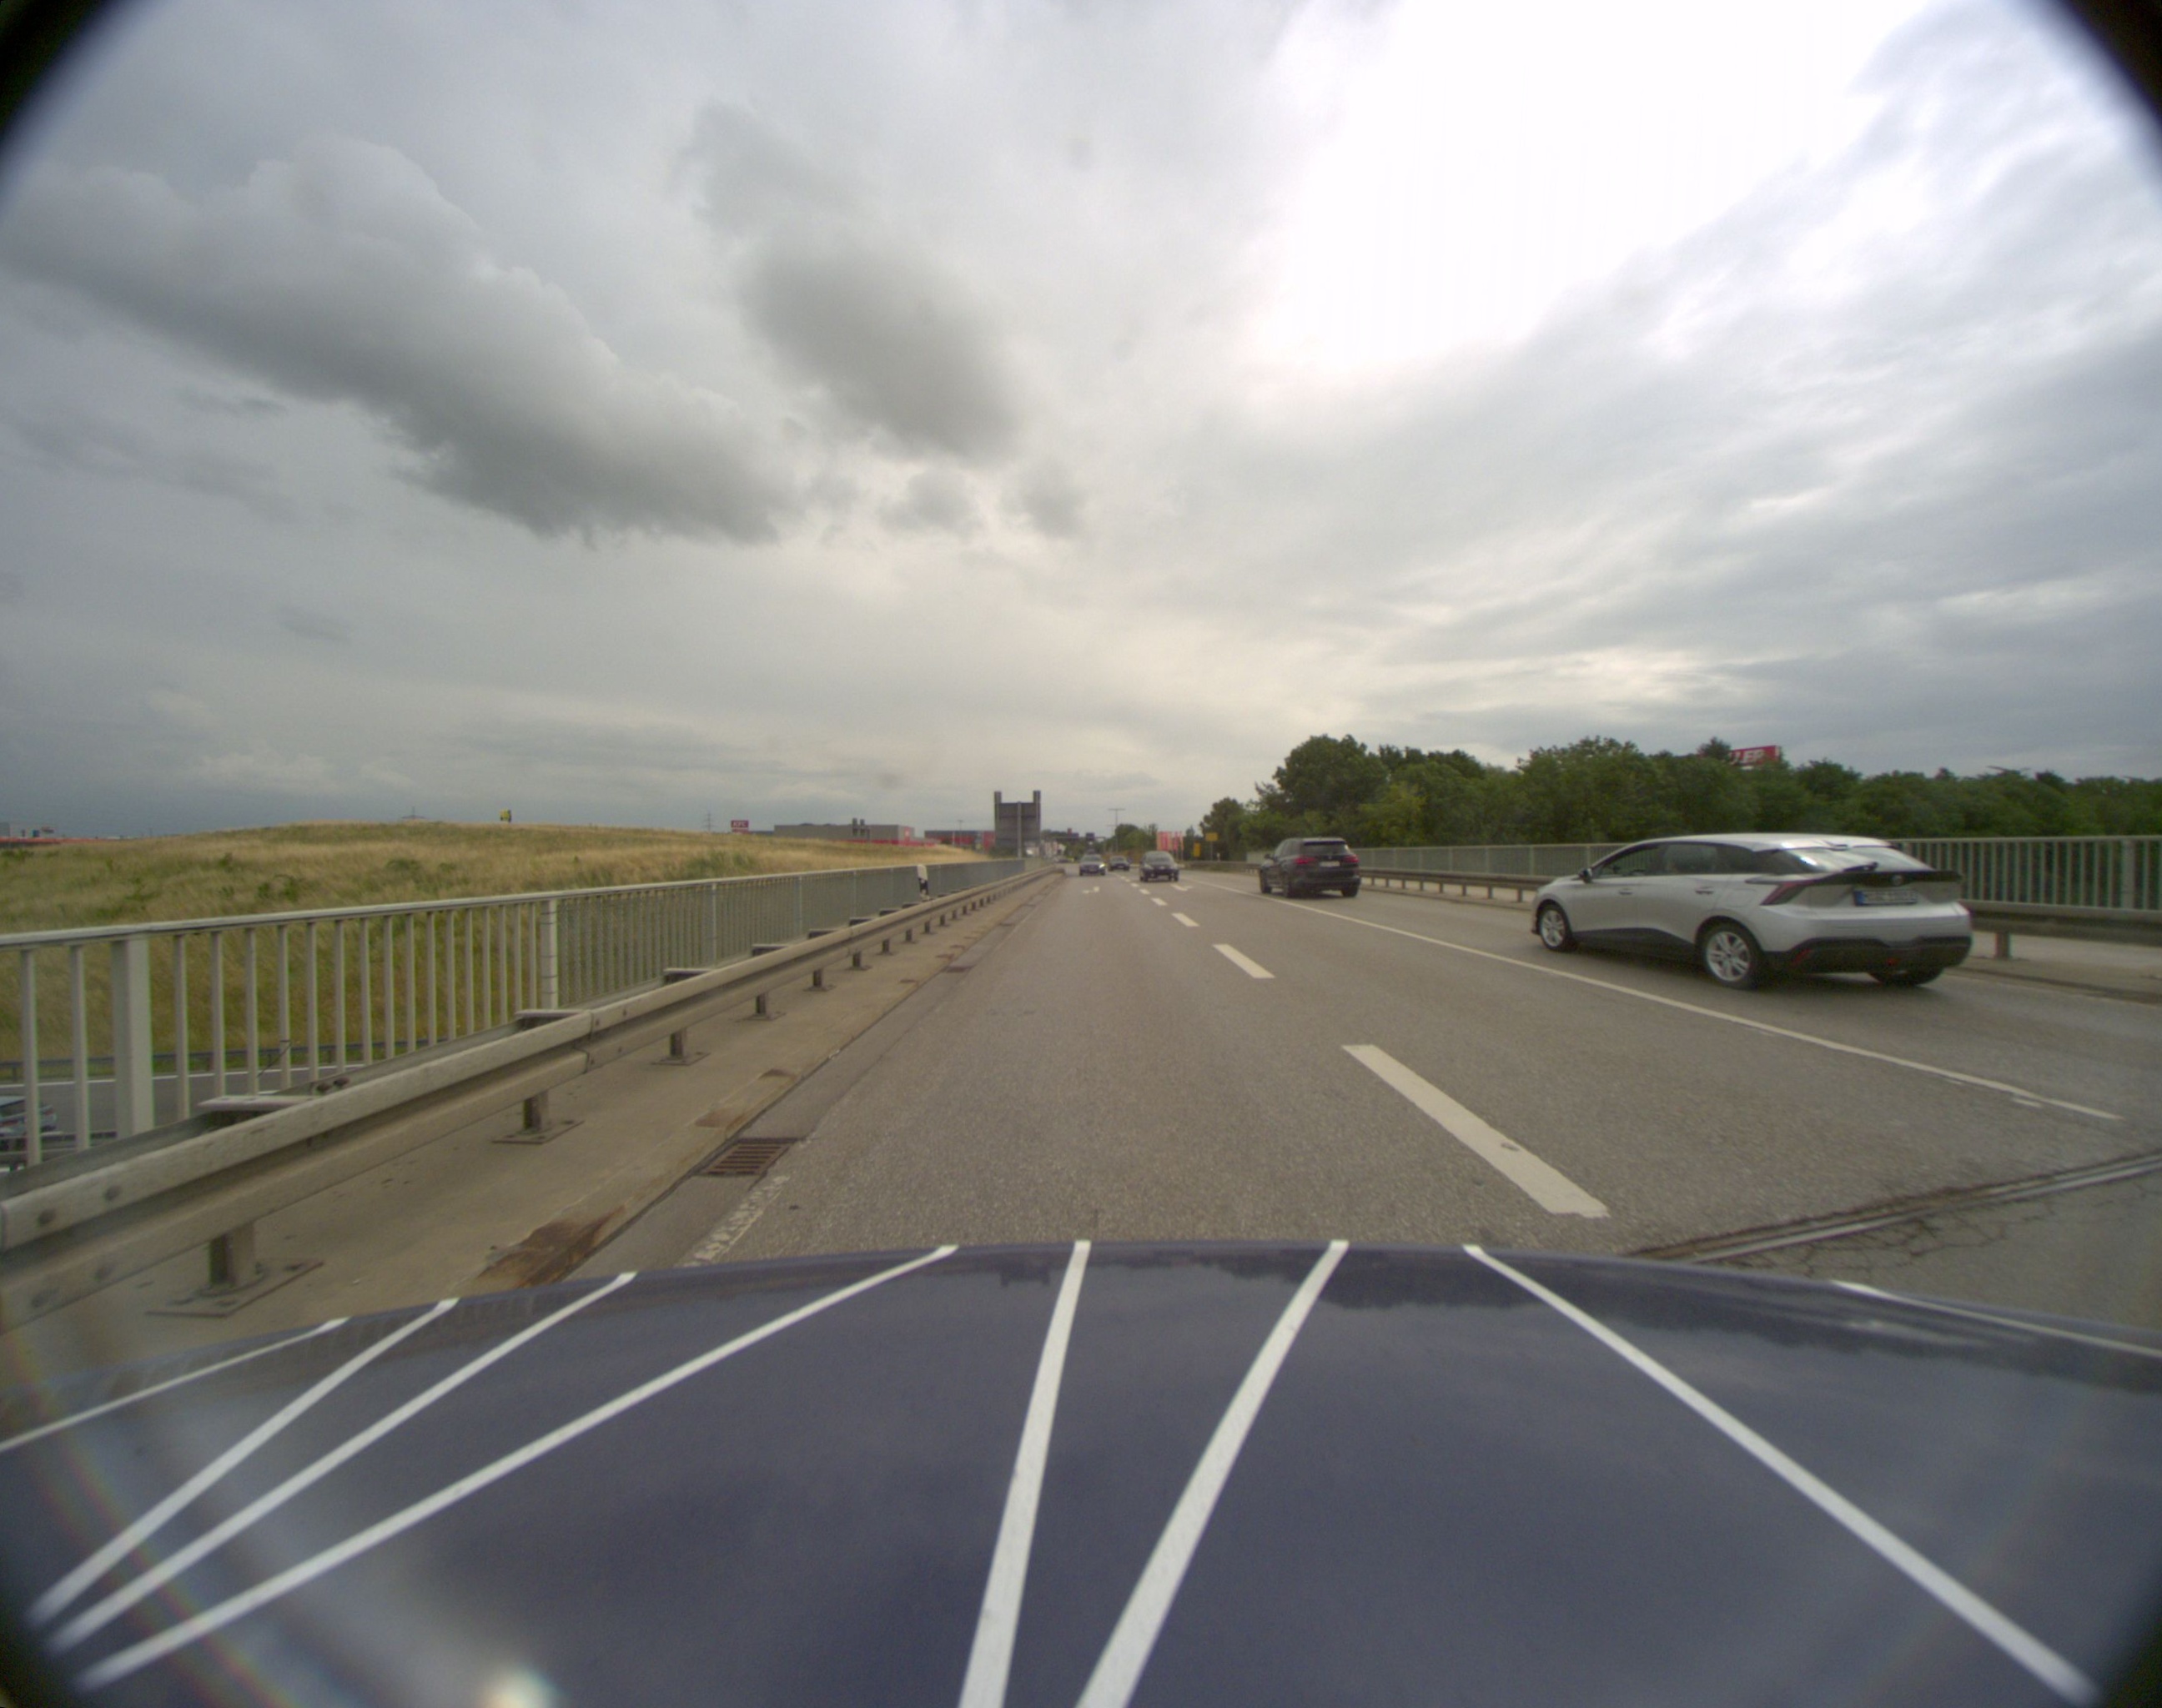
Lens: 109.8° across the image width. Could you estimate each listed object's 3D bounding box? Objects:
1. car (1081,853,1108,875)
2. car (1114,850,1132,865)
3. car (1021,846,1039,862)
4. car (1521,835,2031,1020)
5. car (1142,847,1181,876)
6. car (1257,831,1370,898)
[{"bbox_3d":[0.966,0.690,53.004,1.764,1.411,4.092,-1,0,2],"label":"car"},{"bbox_3d":[3.889,0.322,70.802,1.579,1.261,3.314,-1,0,0],"label":"car"},{"bbox_3d":[-7.247,-0.011,107.650,2.000,2.001,4.839,-2,-1,-11],"label":"car"},{"bbox_3d":[6.991,0.573,8.417,1.716,1.478,4.278,-2,1,0],"label":"car"},{"bbox_3d":[3.994,0.370,38.125,1.580,1.346,3.824,-2,0,1],"label":"car"},{"bbox_3d":[6.886,0.242,23.090,1.998,1.722,4.761,-2,1,1],"label":"car"}]
